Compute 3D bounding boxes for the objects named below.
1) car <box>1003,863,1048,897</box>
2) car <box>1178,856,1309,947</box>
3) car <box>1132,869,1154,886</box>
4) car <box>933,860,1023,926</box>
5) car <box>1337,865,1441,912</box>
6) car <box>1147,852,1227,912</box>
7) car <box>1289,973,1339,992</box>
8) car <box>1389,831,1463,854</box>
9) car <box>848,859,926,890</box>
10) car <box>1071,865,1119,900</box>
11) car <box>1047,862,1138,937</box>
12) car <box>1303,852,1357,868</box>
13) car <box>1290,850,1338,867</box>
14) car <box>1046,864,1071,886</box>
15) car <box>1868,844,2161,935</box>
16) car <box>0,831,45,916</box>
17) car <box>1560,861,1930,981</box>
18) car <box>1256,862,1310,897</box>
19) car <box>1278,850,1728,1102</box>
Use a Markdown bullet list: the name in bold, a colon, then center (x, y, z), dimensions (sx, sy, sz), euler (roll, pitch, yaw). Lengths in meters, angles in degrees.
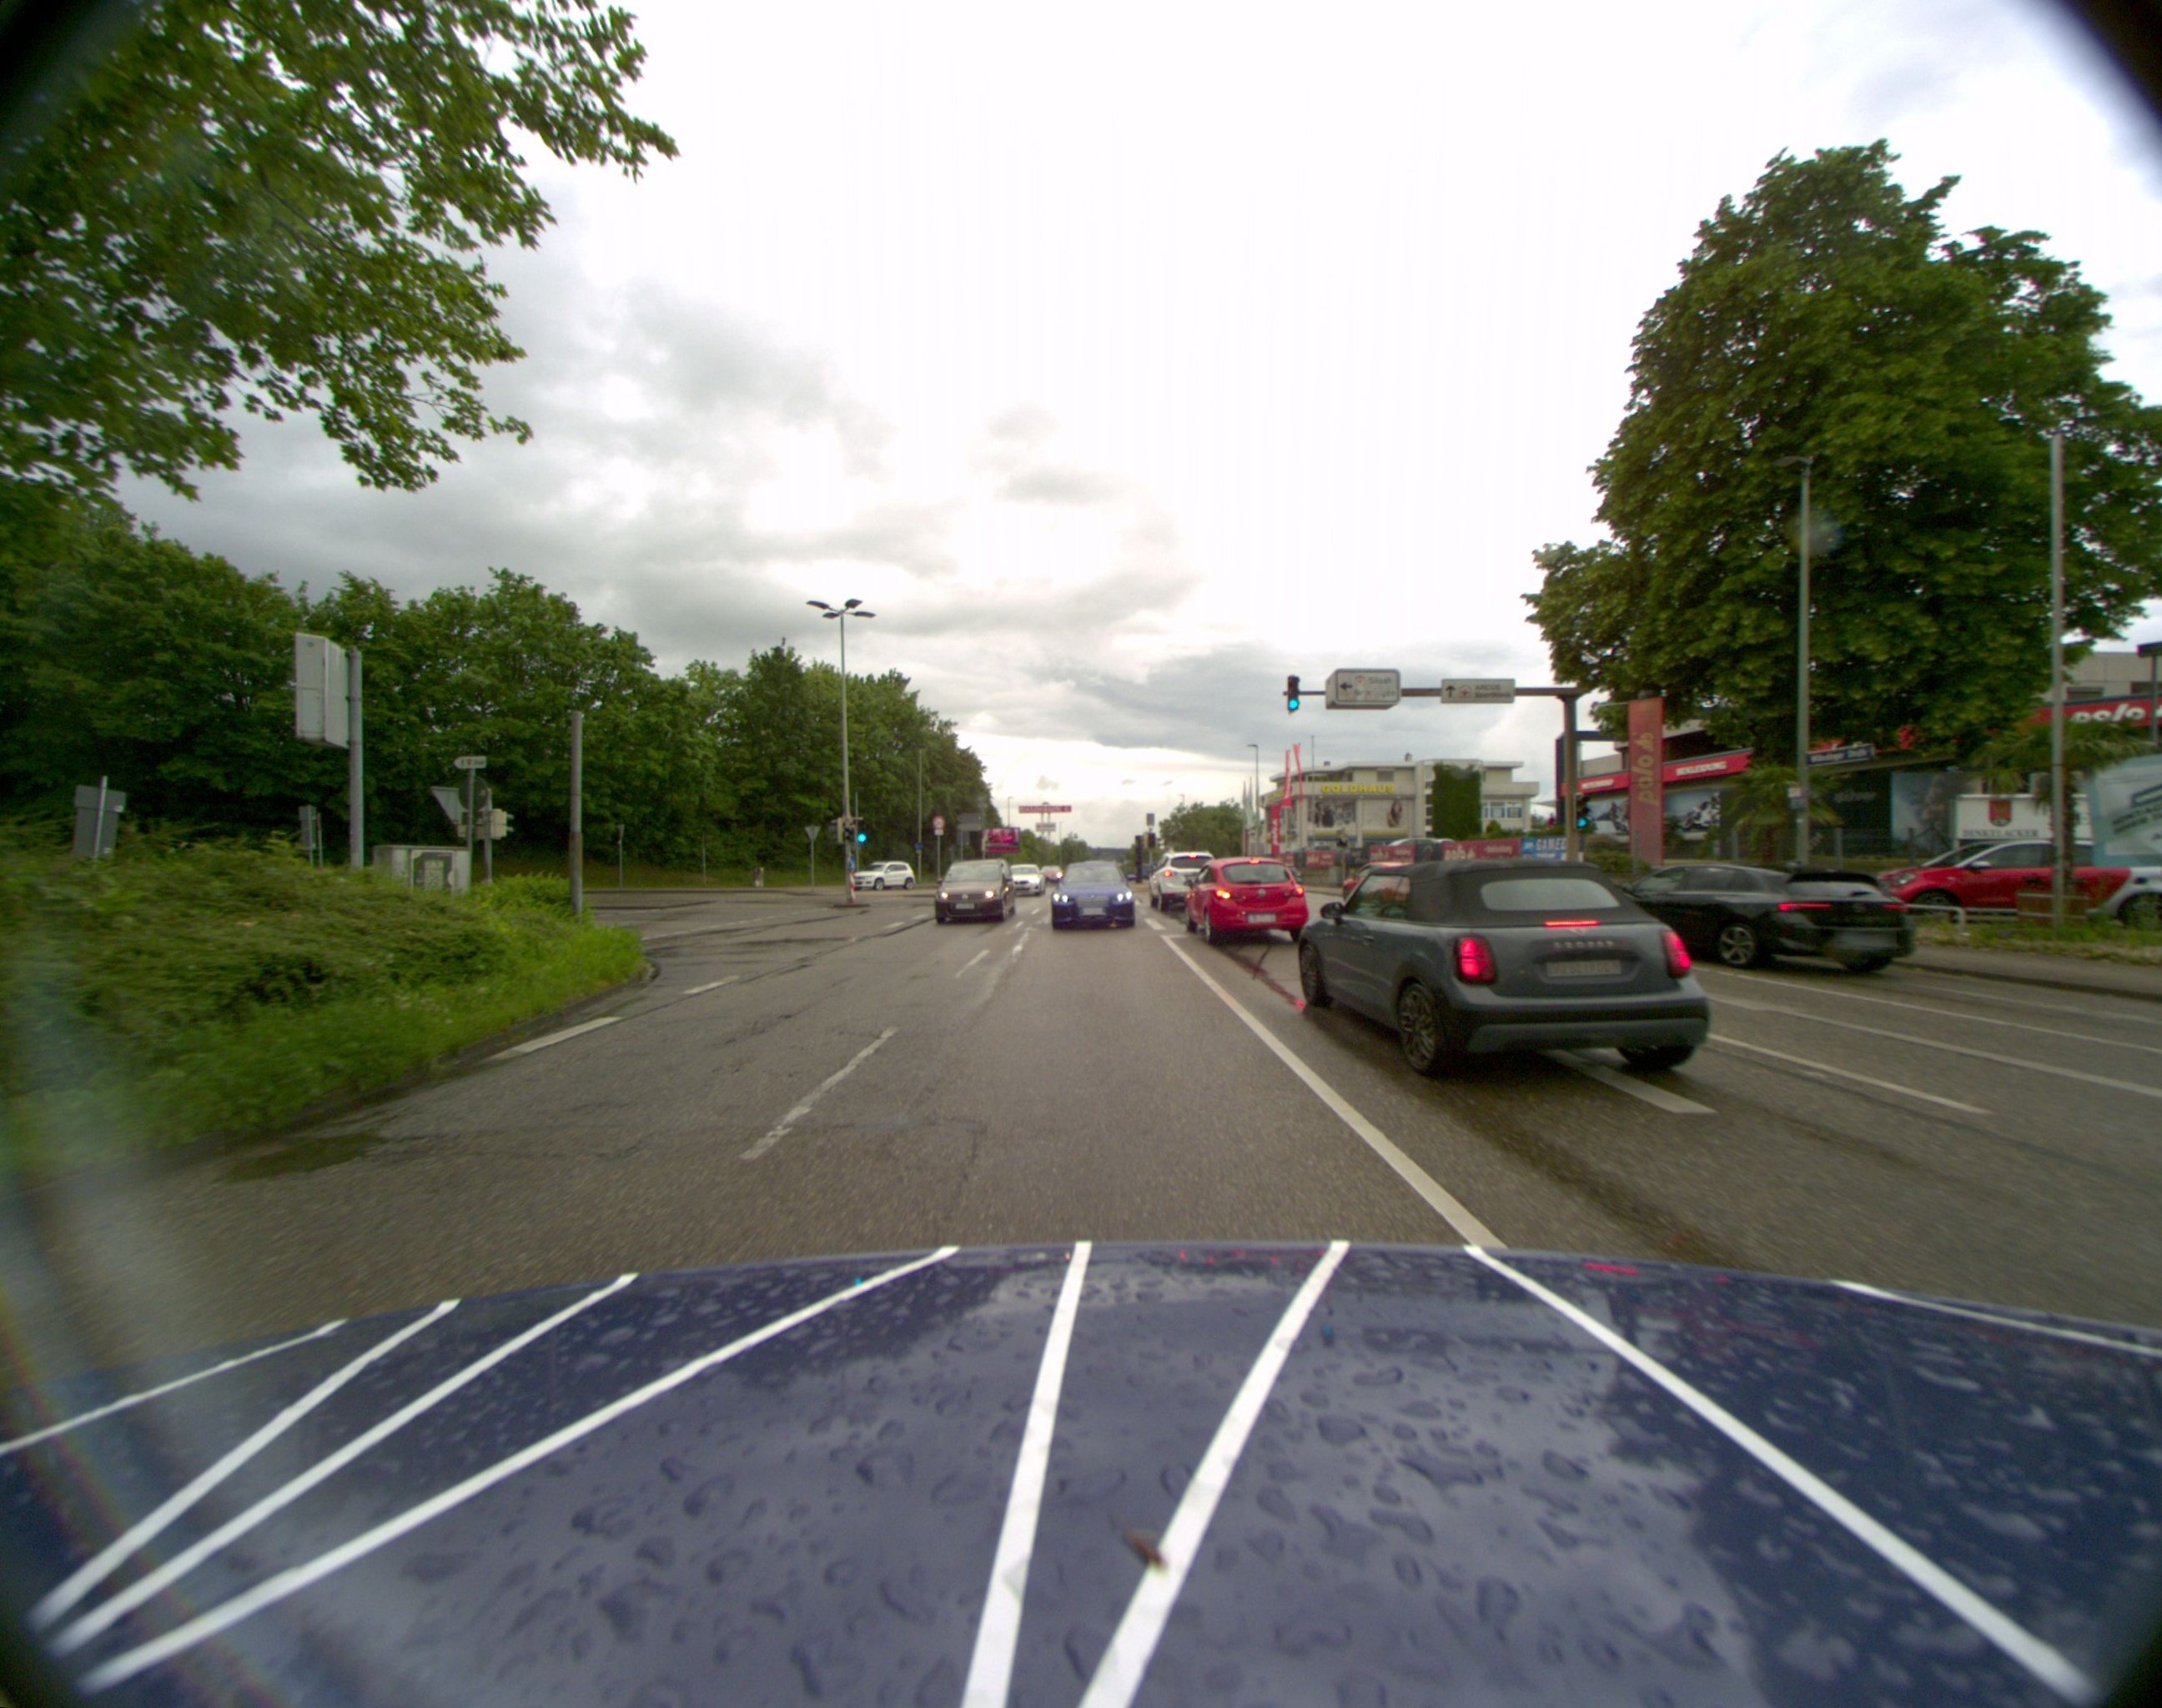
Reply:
- **car**: center (-2.544, 1.174, 35.952), dimensions (1.784, 1.448, 4.680), euler (-1, -1, 0)
- **car**: center (2.916, 0.783, 14.439), dimensions (1.636, 1.425, 4.144), euler (0, 1, 1)
- **car**: center (6.185, 2.288, 75.747), dimensions (1.844, 1.639, 4.298), euler (1, -1, 0)
- **car**: center (-2.693, 0.987, 20.655), dimensions (1.751, 1.599, 3.981), euler (-1, -1, 2)
- **car**: center (9.353, 1.017, 23.407), dimensions (1.626, 1.324, 3.947), euler (1, -1, 1)
- **car**: center (3.113, 0.824, 23.126), dimensions (1.844, 1.639, 4.298), euler (0, -1, 0)
- **car**: center (17.725, 9.766, 57.858), dimensions (3.395, 1.270, 1.454), euler (0, -1, -1)
- **car**: center (18.893, -0.620, 41.672), dimensions (3.395, 1.160, 1.454), euler (0, -1, -1)
- **car**: center (-11.298, 1.181, 44.488), dimensions (1.995, 1.717, 4.326), euler (-1, -2, 29)
- **car**: center (0.662, 1.268, 34.635), dimensions (1.998, 1.455, 4.369), euler (-1, -1, 2)
- **car**: center (0.226, 0.937, 17.431), dimensions (1.784, 1.448, 4.598), euler (-1, -1, 0)
- **car**: center (17.974, 0.457, 54.956), dimensions (3.395, 1.160, 1.454), euler (0, -1, -1)
- **car**: center (18.412, 0.342, 60.196), dimensions (3.394, 1.329, 1.455), euler (0, -1, 2)
- **car**: center (-1.579, 1.458, 53.838), dimensions (1.634, 1.448, 3.538), euler (-1, -1, 0)
- **car**: center (17.235, 0.583, 13.897), dimensions (3.608, 1.495, 1.669), euler (1, 1, 30)
- **car**: center (-25.410, 0.373, 15.948), dimensions (4.003, 1.848, 1.849), euler (1, 0, -18)
- **car**: center (9.334, 0.843, 11.285), dimensions (1.606, 1.391, 4.405), euler (1, -1, 0)
- **car**: center (9.957, 1.258, 37.729), dimensions (1.680, 1.608, 4.001), euler (1, -1, 1)
- **car**: center (2.985, 0.752, 6.431), dimensions (1.606, 1.432, 3.949), euler (-2, -1, 1)
